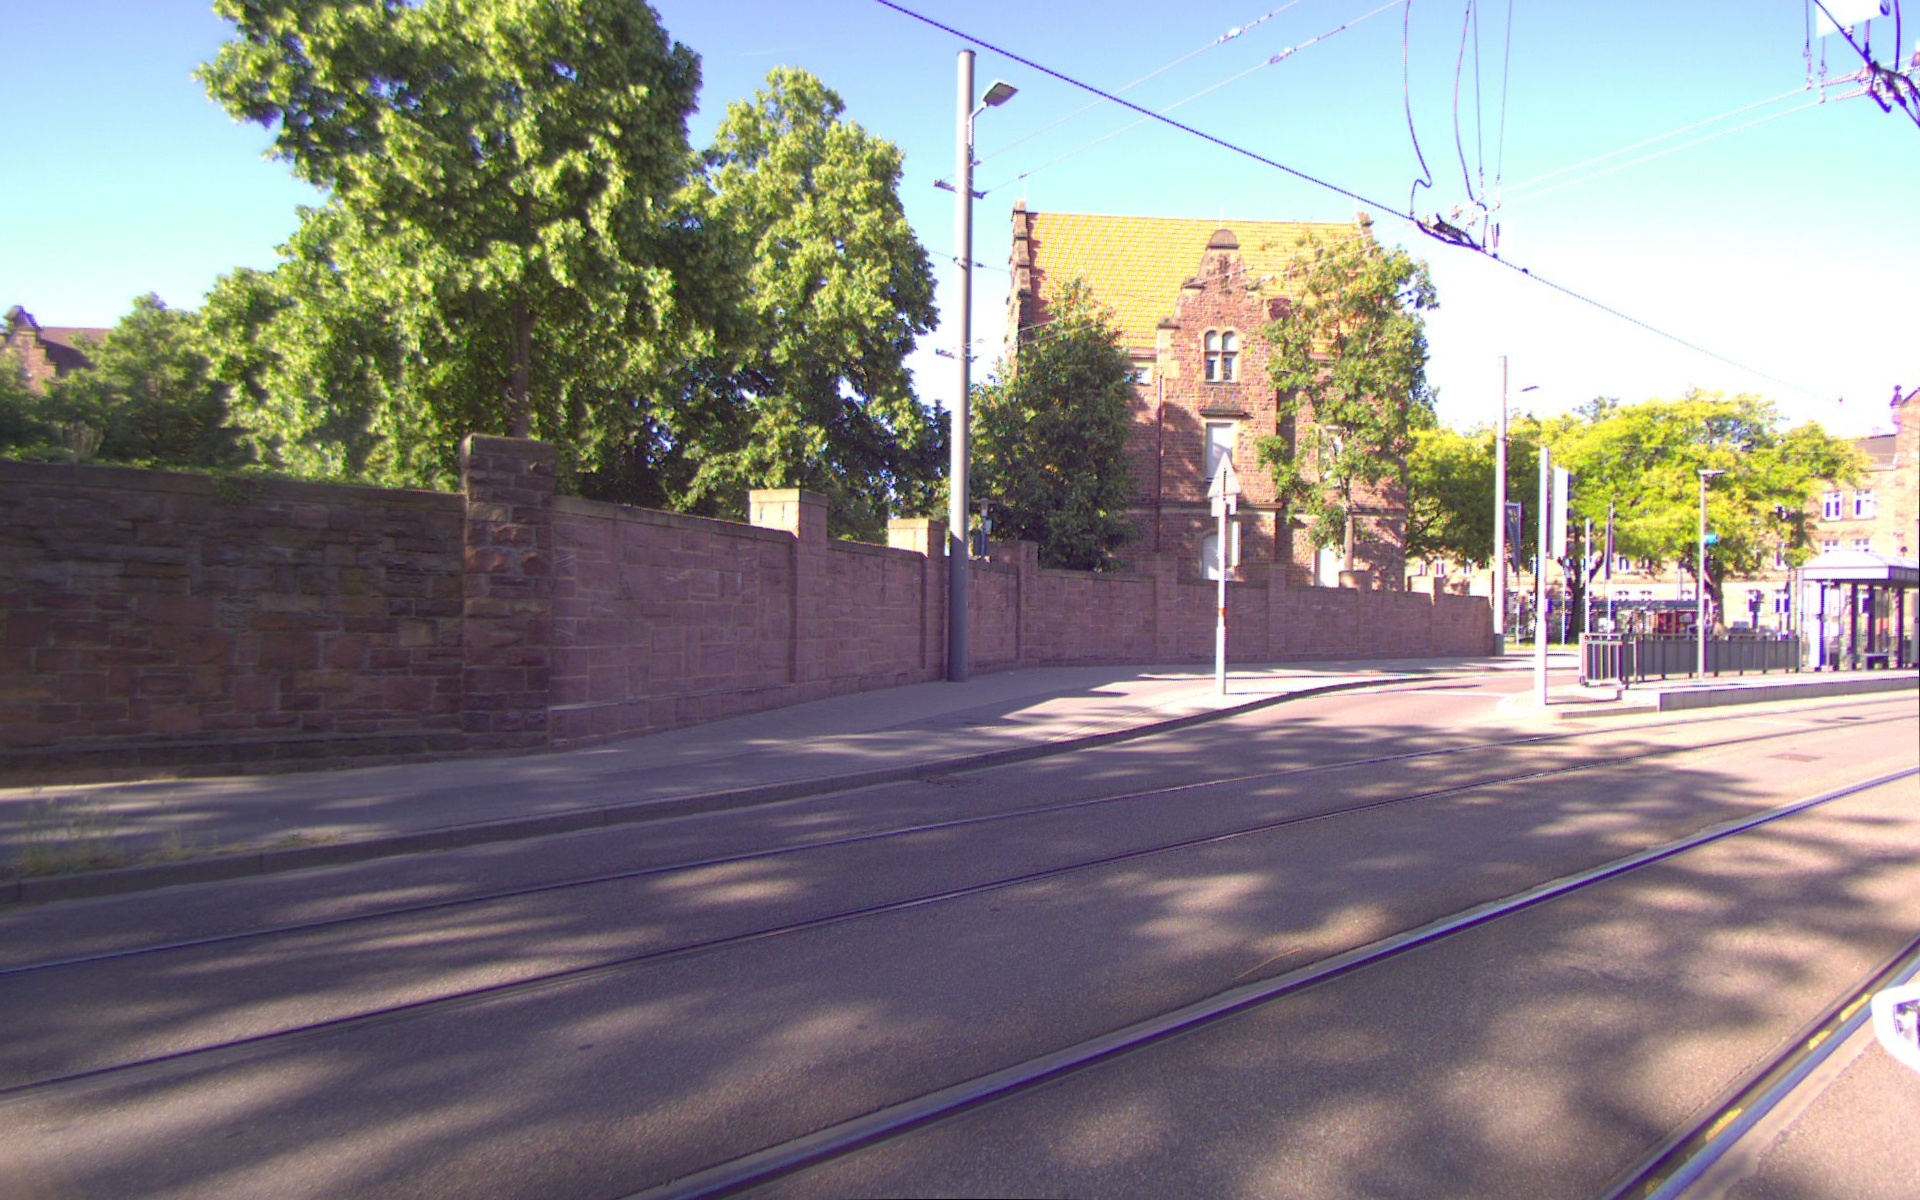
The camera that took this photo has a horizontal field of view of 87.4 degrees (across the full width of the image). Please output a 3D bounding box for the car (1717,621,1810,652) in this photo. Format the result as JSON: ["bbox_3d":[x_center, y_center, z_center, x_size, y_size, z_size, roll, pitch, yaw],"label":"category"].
[{"bbox_3d":[47.765,2.167,59.791,1.798,1.651,3.964,2,0,-32],"label":"car"}]

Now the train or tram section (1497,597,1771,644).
[{"bbox_3d":[50.042,1.467,75.880,3.312,3.196,17.280,2,-1,-33],"label":"train or tram section"}]

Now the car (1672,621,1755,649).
[{"bbox_3d":[49.191,2.249,65.675,1.798,1.651,3.964,2,0,-32],"label":"car"}]
